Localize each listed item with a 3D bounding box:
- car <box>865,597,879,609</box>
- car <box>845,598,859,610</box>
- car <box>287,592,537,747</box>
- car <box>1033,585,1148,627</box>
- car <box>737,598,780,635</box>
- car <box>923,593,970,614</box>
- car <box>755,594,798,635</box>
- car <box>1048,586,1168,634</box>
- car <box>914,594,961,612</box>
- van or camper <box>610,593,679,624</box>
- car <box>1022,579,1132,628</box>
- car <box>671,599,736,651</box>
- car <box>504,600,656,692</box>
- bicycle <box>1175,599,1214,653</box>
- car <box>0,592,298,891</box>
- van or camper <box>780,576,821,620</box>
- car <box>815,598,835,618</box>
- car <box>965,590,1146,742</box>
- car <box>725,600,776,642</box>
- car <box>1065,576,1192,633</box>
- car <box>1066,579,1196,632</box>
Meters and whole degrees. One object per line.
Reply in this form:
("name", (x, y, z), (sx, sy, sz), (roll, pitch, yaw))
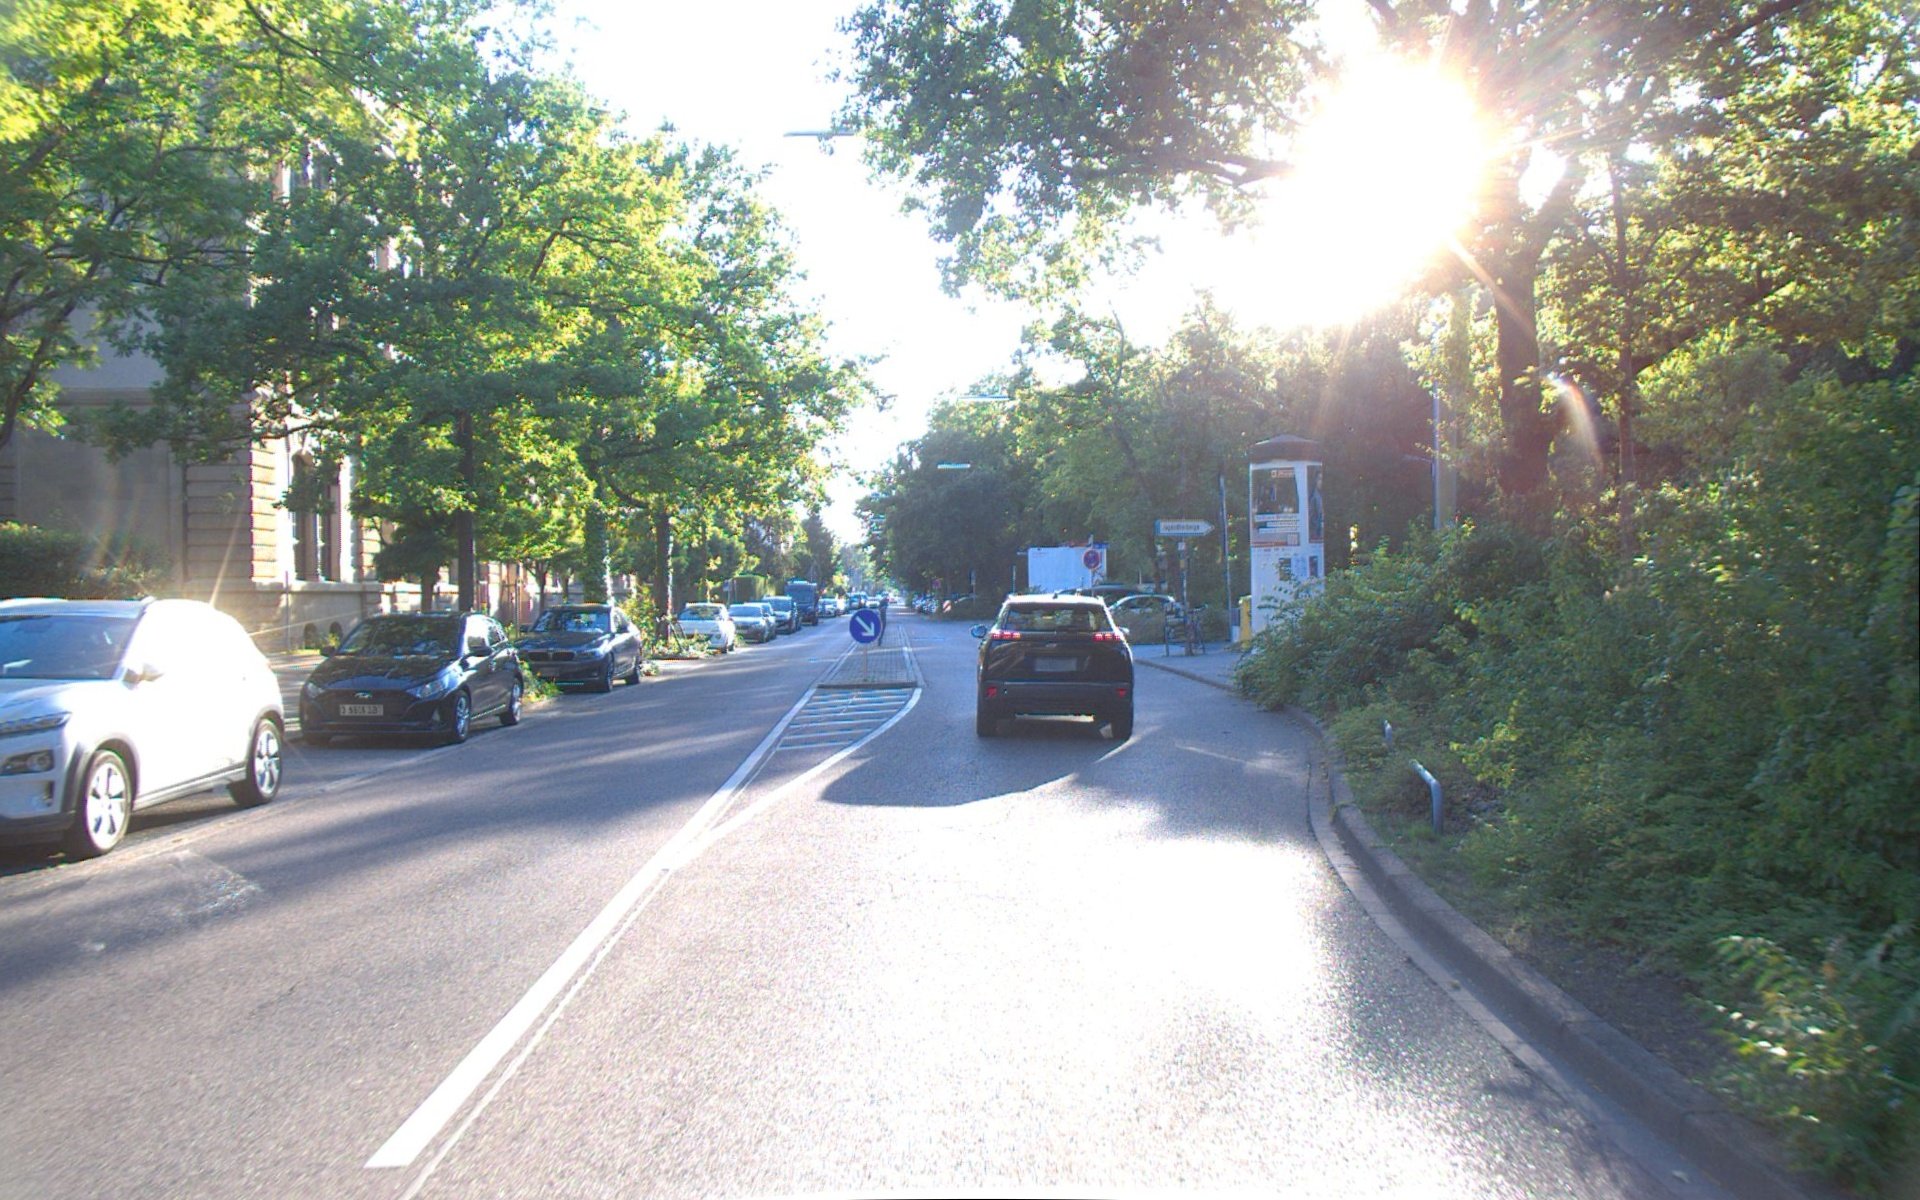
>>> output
("car", (-10.915, 0.377, 204.815), (1.706, 1.483, 4.621), (-1, 0, -3))
("car", (-14.692, 0.598, 224.567), (1.862, 1.601, 3.998), (-1, 0, -3))
("car", (-6.340, 0.738, 19.622), (1.744, 1.644, 4.145), (0, 0, -3))
("car", (5.763, 0.269, 73.379), (4.829, 1.581, 1.915), (-3, 0, -4))
("car", (-8.648, 0.699, 70.845), (1.687, 1.522, 4.368), (0, 0, -9))
("car", (-1.200, 0.318, 141.942), (3.908, 1.581, 1.724), (-3, 0, -3))
("car", (-8.989, 0.677, 81.110), (1.742, 1.898, 4.330), (1, 0, -2))
("car", (5.595, 0.363, 62.985), (4.277, 1.581, 1.875), (-3, 0, -4))
("car", (-2.059, 0.316, 152.010), (4.160, 1.474, 2.019), (-2, 0, -5))
("van or camper", (-23.302, 0.610, 122.315), (4.671, 2.020, 2.001), (-1, 4, -1))
("car", (5.345, 0.148, 75.797), (4.756, 1.949, 1.915), (-3, 0, -4))
("car", (-7.855, 0.747, 50.907), (1.585, 1.522, 3.922), (0, 0, -3))
("car", (-6.870, 0.779, 30.393), (1.766, 1.537, 4.861), (0, 0, -1))
("bicycle", (5.619, 0.605, 39.539), (0.482, 1.168, 2.287), (-4, 1, 17))
("car", (-6.117, 0.798, 11.160), (1.767, 1.644, 4.145), (-1, 0, -3))
("van or camper", (-9.693, -0.118, 100.952), (2.185, 2.589, 7.075), (1, 0, -3))
("car", (-11.123, 0.679, 136.209), (1.582, 1.541, 3.708), (-3, 0, -4))
("car", (1.021, 0.684, 19.564), (1.736, 1.596, 4.107), (0, 0, -2))
("car", (-8.027, 0.774, 63.524), (1.585, 1.522, 4.375), (0, 0, -3))
("car", (6.091, 0.162, 60.128), (4.277, 1.811, 1.919), (-3, 0, -4))
("car", (5.954, 0.179, 57.874), (4.277, 1.581, 1.726), (-3, 0, -4))
